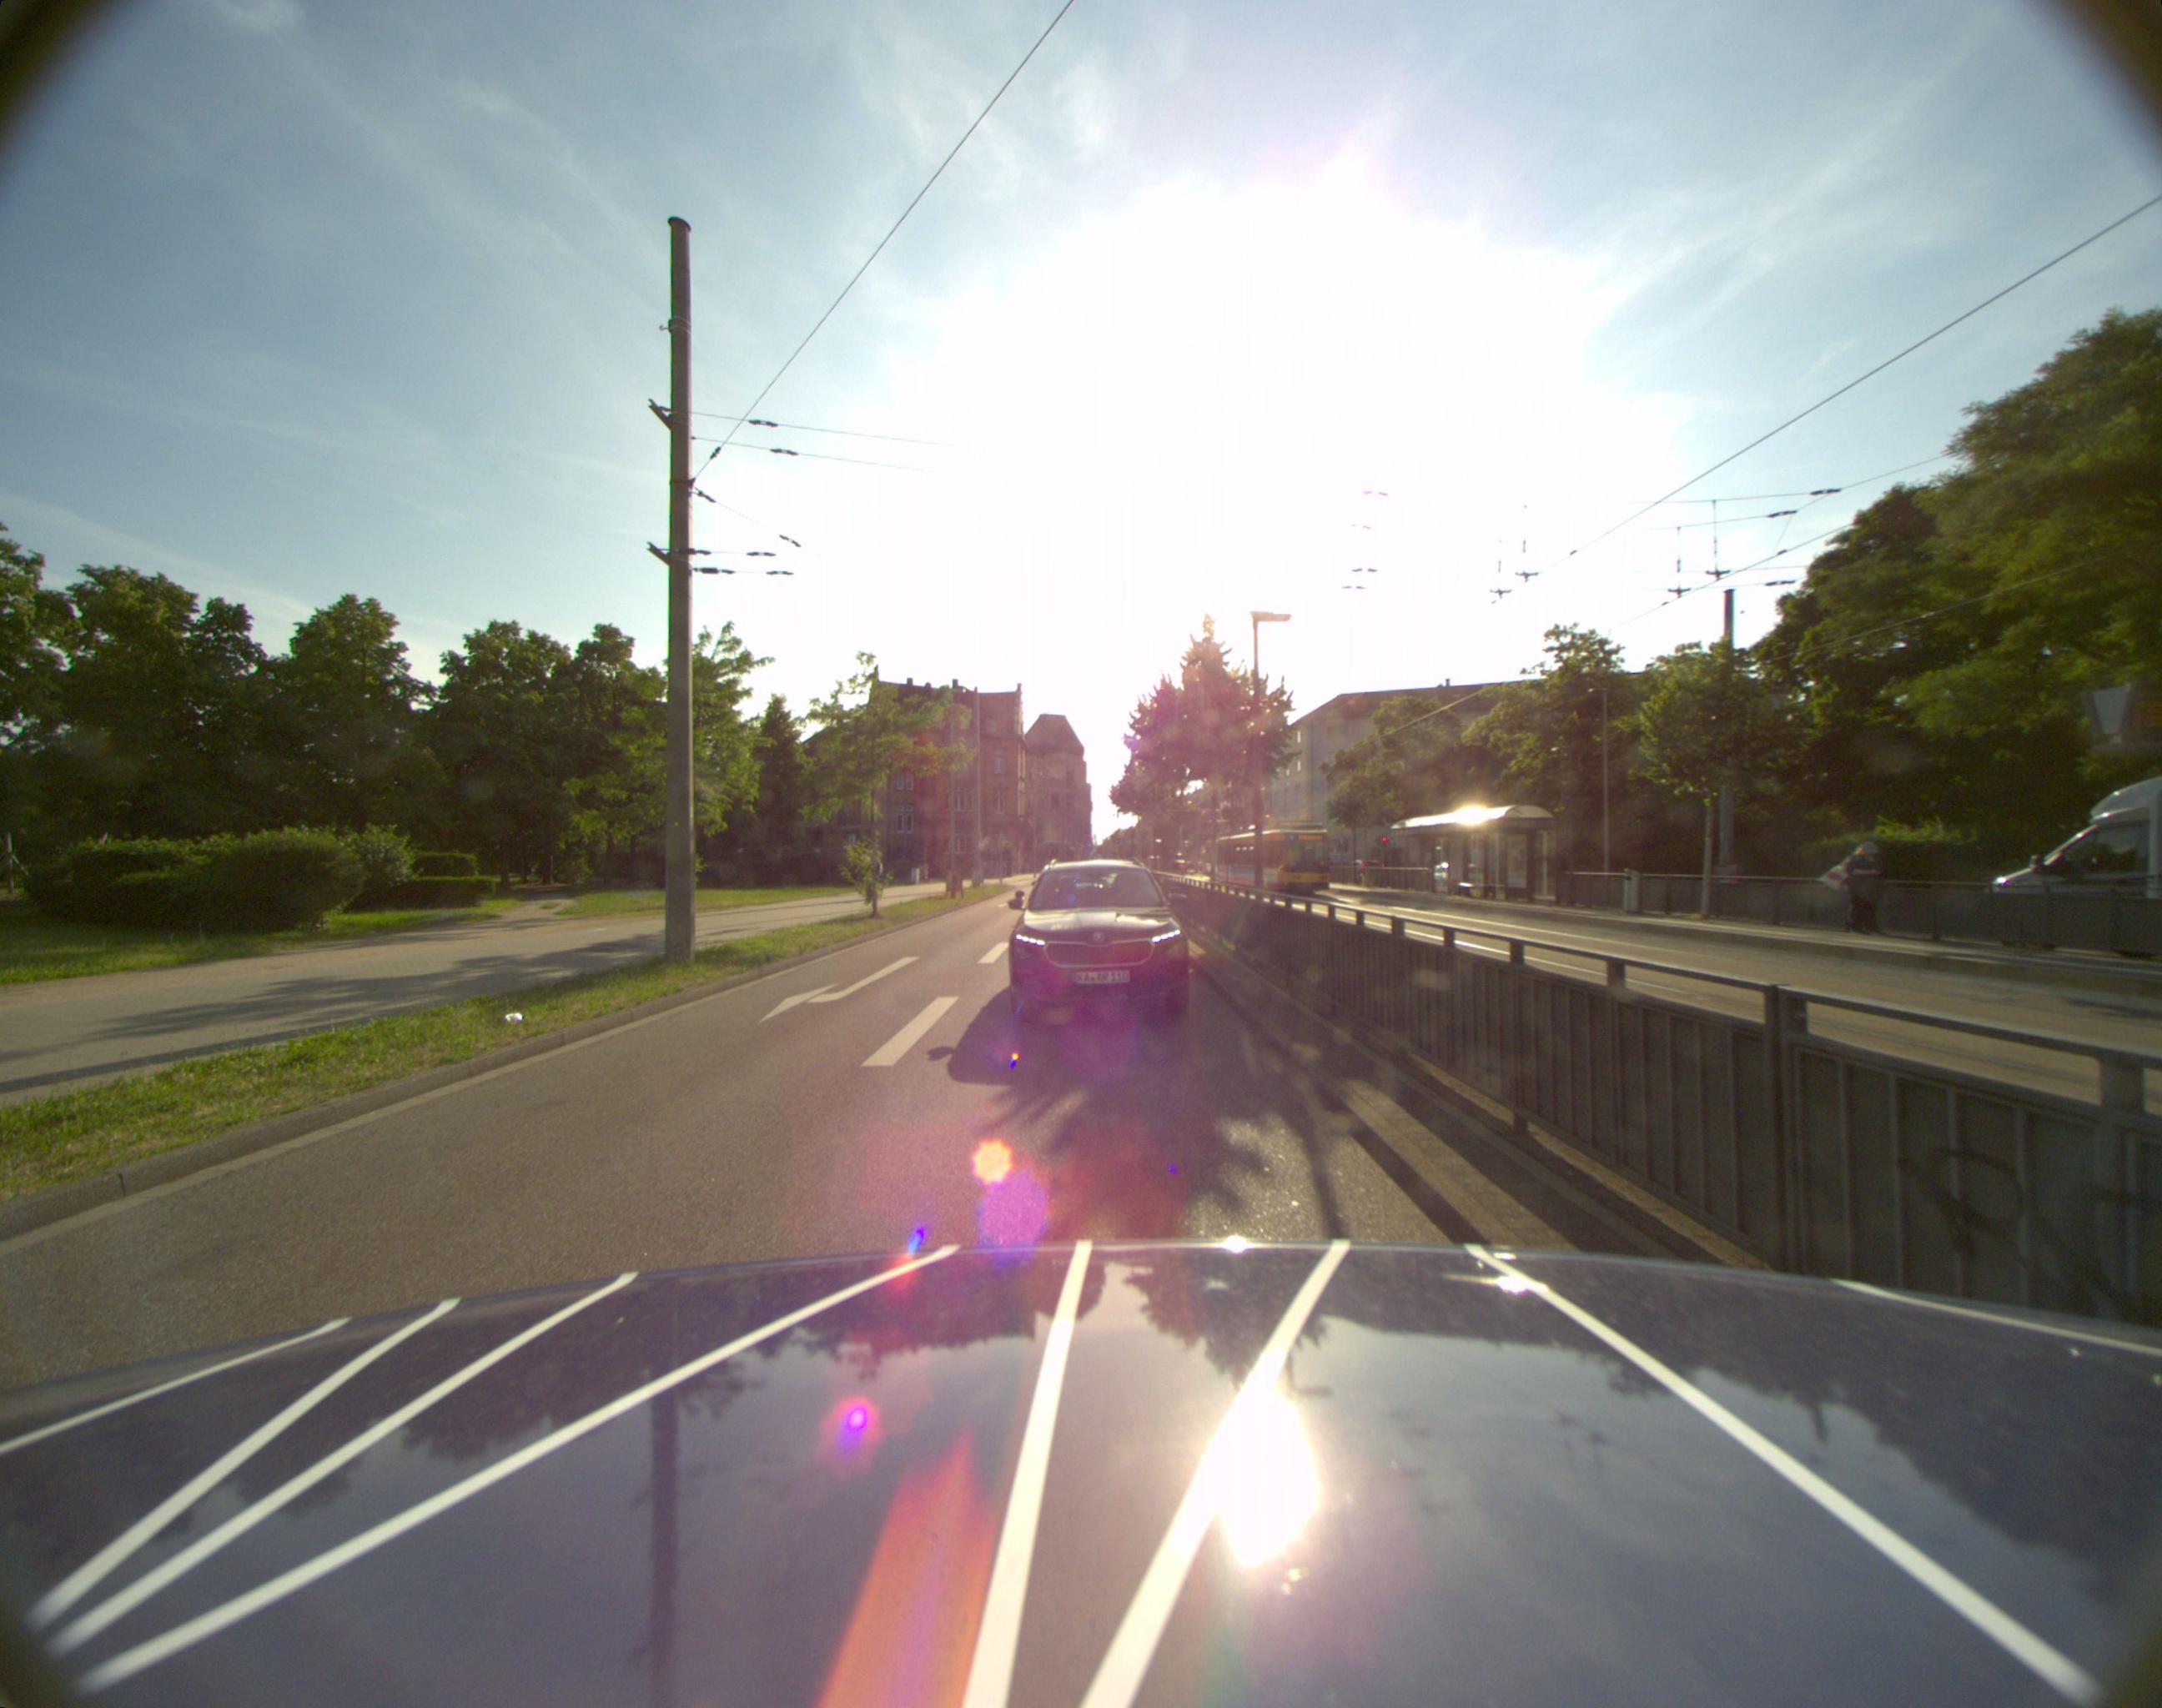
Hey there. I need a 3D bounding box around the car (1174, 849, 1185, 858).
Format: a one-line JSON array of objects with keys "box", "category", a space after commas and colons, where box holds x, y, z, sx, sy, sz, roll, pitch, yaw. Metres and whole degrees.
[{"box": [22.090, -0.078, 170.156, 1.998, 2.002, 4.001, -1, 0, 1], "category": "car"}]

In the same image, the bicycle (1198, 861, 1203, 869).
[{"box": [17.163, 1.570, 109.427, 0.543, 1.012, 2.251, -1, 0, 4], "category": "bicycle"}]

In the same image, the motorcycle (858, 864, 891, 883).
[{"box": [-13.720, 1.288, 50.462, 2.002, 1.153, 0.708, -1, 0, -4], "category": "motorcycle"}]

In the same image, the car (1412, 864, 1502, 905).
[{"box": [16.632, 1.304, 33.838, 1.999, 1.674, 4.000, -1, 0, 0], "category": "car"}]

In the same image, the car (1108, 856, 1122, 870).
[{"box": [4.974, 1.293, 112.081, 1.998, 2.002, 4.000, 0, 0, 1], "category": "car"}]

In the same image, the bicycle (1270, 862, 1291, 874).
[{"box": [19.513, 1.337, 74.147, 1.912, 1.104, 0.736, 0, 0, 22], "category": "bicycle"}]

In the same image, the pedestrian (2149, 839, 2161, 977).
[{"box": [13.090, 0.644, 8.796, 0.583, 1.631, 0.607, 1, 0, -4], "category": "pedestrian"}]

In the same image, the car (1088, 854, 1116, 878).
[{"box": [1.533, 0.903, 57.457, 1.998, 1.772, 4.000, 0, 0, 0], "category": "car"}]

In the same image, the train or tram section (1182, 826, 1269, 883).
[{"box": [9.900, 0.060, 54.141, 3.170, 3.459, 14.531, -1, 0, -1], "category": "train or tram section"}]

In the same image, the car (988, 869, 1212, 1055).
[{"box": [0.260, 0.922, 8.256, 1.839, 1.472, 4.001, 0, 0, 3], "category": "car"}]

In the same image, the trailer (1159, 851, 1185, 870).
[{"box": [11.746, 0.824, 98.068, 2.858, 2.377, 1.726, -1, 0, 33], "category": "trailer"}]

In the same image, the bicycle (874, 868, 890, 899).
[{"box": [-7.793, 1.146, 29.703, 0.485, 1.183, 1.337, -1, 0, -18], "category": "bicycle"}]

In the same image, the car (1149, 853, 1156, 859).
[{"box": [23.292, 0.556, 246.720, 1.998, 2.002, 4.000, -1, 0, 0], "category": "car"}]

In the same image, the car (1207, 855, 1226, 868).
[{"box": [19.619, 1.078, 110.210, 2.170, 1.739, 4.612, -1, 0, 3], "category": "car"}]

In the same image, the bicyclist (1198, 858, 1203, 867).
[{"box": [17.151, 1.227, 109.440, 0.652, 1.405, 0.717, -1, 0, 4], "category": "bicyclist"}]

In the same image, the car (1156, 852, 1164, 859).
[{"box": [23.484, 0.433, 225.104, 1.998, 2.002, 4.000, -1, 0, 0], "category": "car"}]

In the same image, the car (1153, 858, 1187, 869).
[{"box": [11.125, 1.143, 95.041, 3.941, 1.352, 1.676, 0, 0, 38], "category": "car"}]

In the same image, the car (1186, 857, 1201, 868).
[{"box": [20.261, 1.546, 136.643, 2.170, 1.890, 4.612, -1, 0, 3], "category": "car"}]

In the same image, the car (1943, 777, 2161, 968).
[{"box": [16.682, 0.239, 9.840, 2.603, 2.719, 7.469, -1, 0, 1], "category": "car"}]

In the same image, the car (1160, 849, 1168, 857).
[{"box": [23.066, -0.271, 212.157, 1.998, 2.002, 4.002, -1, 0, 4], "category": "car"}]

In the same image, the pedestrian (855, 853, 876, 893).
[{"box": [-9.465, 0.825, 33.329, 0.616, 1.682, 0.549, 5, 1, 5], "category": "pedestrian"}]

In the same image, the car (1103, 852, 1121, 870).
[{"box": [3.449, 0.772, 84.923, 1.998, 2.002, 4.000, 0, 0, 1], "category": "car"}]

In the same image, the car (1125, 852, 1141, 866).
[{"box": [7.475, 0.741, 109.861, 1.999, 2.002, 3.999, 0, 0, -2], "category": "car"}]

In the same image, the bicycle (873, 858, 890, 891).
[{"box": [-7.814, 0.797, 29.754, 0.575, 1.290, 0.687, -1, 0, -20], "category": "bicycle"}]

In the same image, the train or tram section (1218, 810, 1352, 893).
[{"box": [9.999, -0.055, 39.633, 3.170, 3.459, 14.472, -1, 0, 0], "category": "train or tram section"}]

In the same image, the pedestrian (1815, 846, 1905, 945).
[{"box": [13.508, 0.696, 13.192, 0.666, 1.632, 0.863, -1, 0, -16], "category": "pedestrian"}]

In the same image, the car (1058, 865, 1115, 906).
[{"box": [0.303, 1.280, 32.004, 1.998, 1.564, 4.002, -1, 0, 6], "category": "car"}]

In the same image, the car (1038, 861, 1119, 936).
[{"box": [-0.034, 1.135, 21.075, 1.998, 1.827, 4.000, -1, 0, 1], "category": "car"}]
